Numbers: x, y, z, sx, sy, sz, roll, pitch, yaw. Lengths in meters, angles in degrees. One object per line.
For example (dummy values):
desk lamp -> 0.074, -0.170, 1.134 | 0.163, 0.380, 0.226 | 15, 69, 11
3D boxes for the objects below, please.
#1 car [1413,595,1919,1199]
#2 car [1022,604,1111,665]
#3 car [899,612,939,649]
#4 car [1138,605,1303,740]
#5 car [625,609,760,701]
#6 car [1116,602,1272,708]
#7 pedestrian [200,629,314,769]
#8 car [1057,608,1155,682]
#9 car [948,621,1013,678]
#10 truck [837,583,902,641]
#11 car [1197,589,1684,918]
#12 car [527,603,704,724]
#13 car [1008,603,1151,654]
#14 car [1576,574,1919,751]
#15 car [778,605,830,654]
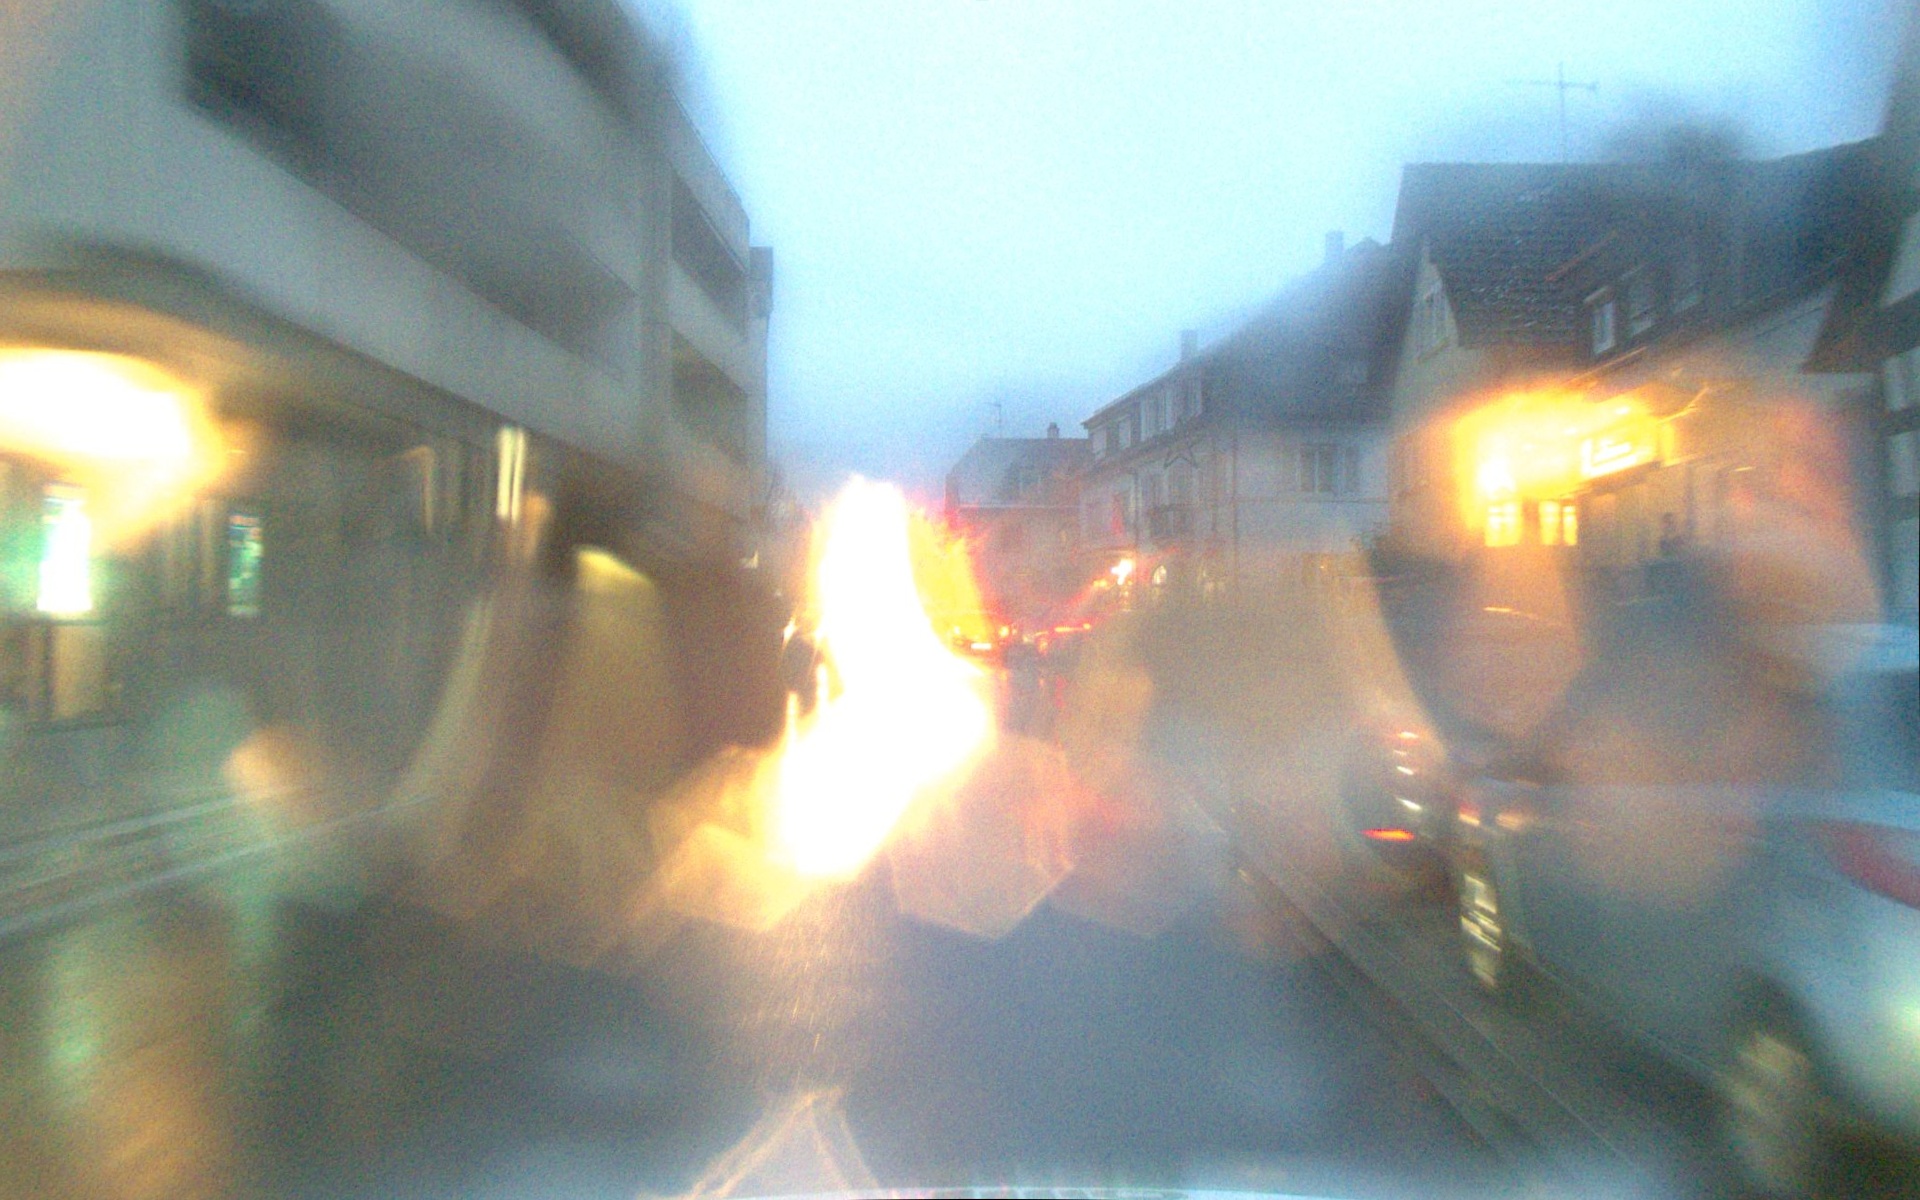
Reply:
car -> 2.807, 0.751, 5.217 | 1.696, 1.484, 4.001 | -3, -1, 1
car -> 2.901, 0.923, 45.994 | 1.845, 1.574, 4.667 | -1, 0, -4
car -> -1.782, 1.275, 70.786 | 1.605, 1.507, 3.269 | 1, 0, -3
car -> 3.155, 0.835, 20.643 | 1.592, 1.466, 3.801 | -3, -1, 3
car -> -4.674, 0.915, 29.471 | 1.641, 1.472, 4.428 | 1, 0, 0
car -> 3.619, 0.820, 26.324 | 1.786, 1.448, 4.608 | -3, -1, 0
pedestrian -> -6.951, 0.966, 16.383 | 0.740, 1.333, 0.828 | 1, -1, 0
car -> 3.195, 0.965, 37.005 | 1.757, 1.486, 4.530 | -2, 0, 0
car -> 0.544, 1.366, 46.494 | 1.605, 1.507, 3.376 | 1, -1, -3
truck -> -5.318, 0.709, 95.967 | 2.960, 3.183, 7.983 | 1, 0, -9
car -> 2.699, 0.782, 10.413 | 1.728, 1.553, 4.389 | -3, -1, 0
car -> -4.864, 0.854, 23.847 | 1.581, 1.559, 3.929 | 1, 0, 2
car -> 3.903, 0.920, 54.330 | 4.383, 1.499, 1.894 | -2, 0, -8
car -> 7.942, 0.566, 16.059 | 3.223, 1.466, 1.686 | -3, -1, 0
car -> -5.637, 1.030, 59.330 | 1.760, 1.671, 3.806 | 1, 0, -7
